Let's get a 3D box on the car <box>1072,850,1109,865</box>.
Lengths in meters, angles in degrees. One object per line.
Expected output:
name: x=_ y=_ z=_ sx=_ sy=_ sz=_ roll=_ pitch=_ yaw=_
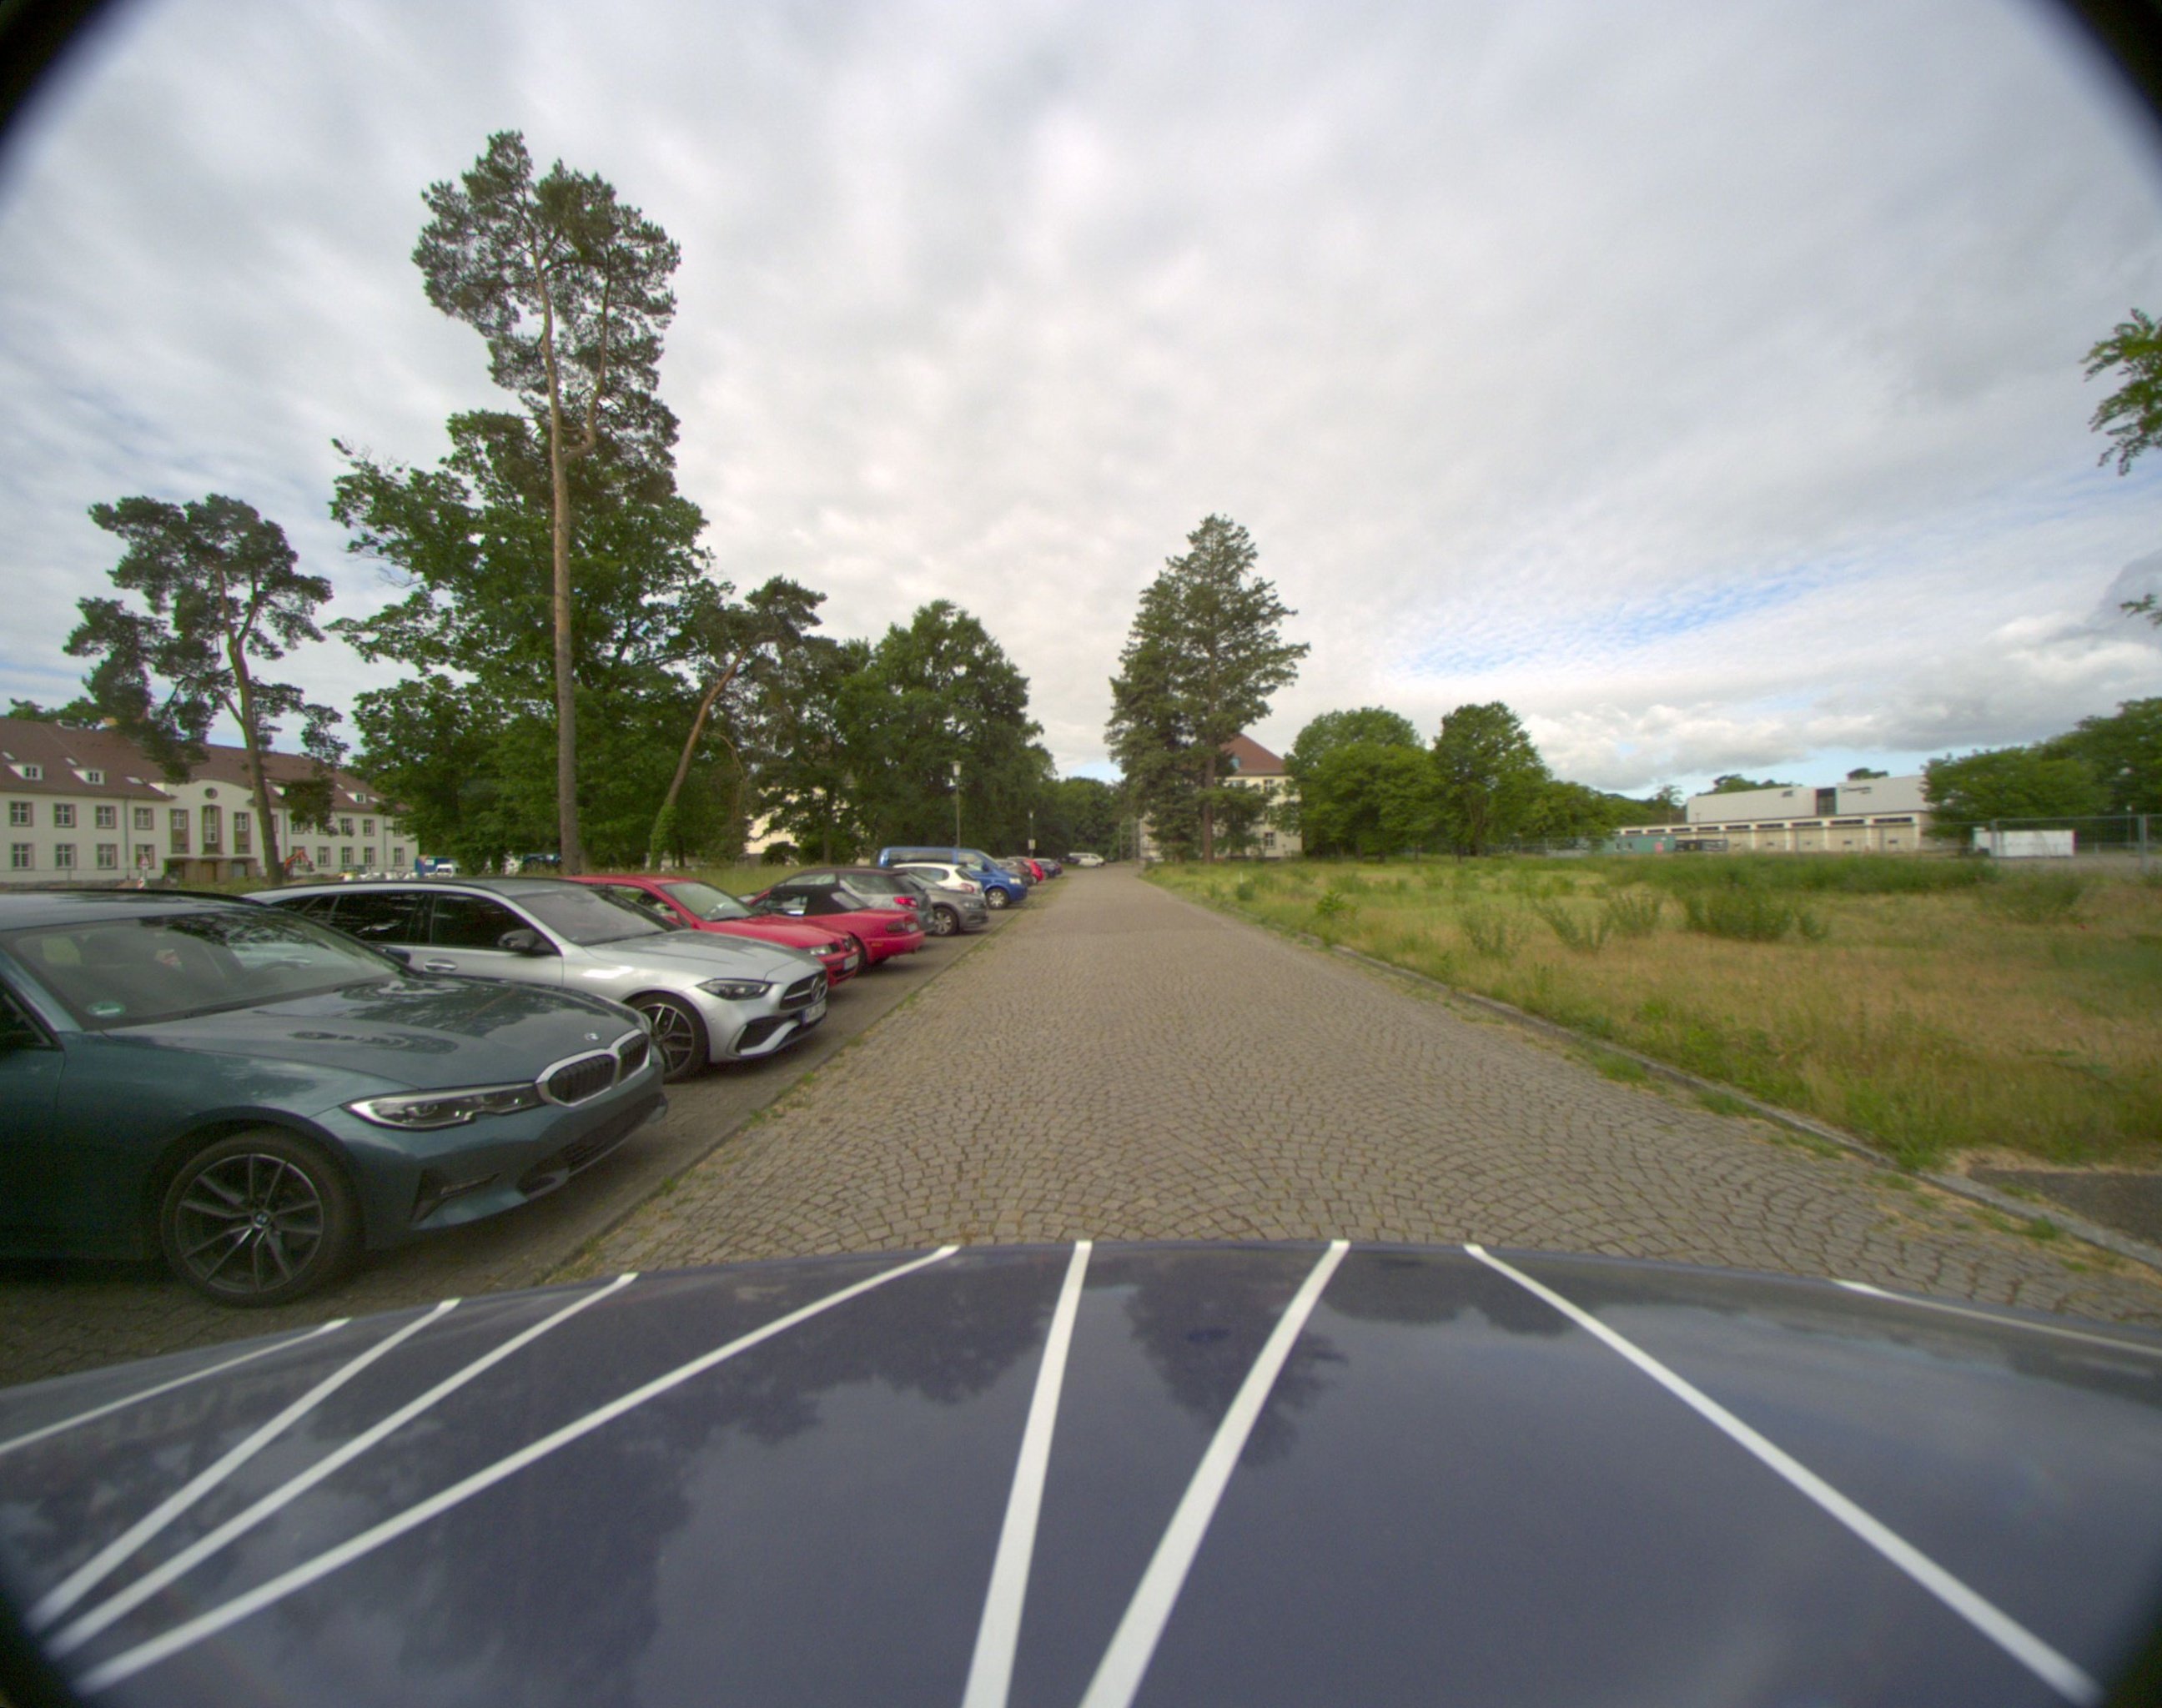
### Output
car: x=1.301 y=0.496 z=107.449 sx=5.149 sy=2.137 sz=1.774 roll=0 pitch=0 yaw=-2

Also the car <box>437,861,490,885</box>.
car: x=-66.714 y=2.022 z=82.163 sx=1.862 sy=2.351 sz=4.447 roll=-2 pitch=1 yaw=1

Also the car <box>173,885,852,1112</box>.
car: x=-4.242 y=1.019 z=6.111 sx=4.246 sy=1.465 sz=1.717 roll=0 pitch=0 yaw=3

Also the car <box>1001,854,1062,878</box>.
car: x=-3.518 y=0.815 z=54.169 sx=4.081 sy=1.685 sz=1.727 roll=0 pitch=0 yaw=8

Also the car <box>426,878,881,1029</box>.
car: x=-4.595 y=1.037 z=8.596 sx=4.183 sy=1.473 sz=1.717 roll=0 pitch=0 yaw=2

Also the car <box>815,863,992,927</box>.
car: x=-4.414 y=1.007 z=19.197 sx=4.049 sy=1.507 sz=1.601 roll=0 pitch=0 yaw=4

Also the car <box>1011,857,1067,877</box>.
car: x=-3.218 y=0.989 z=58.855 sx=4.091 sy=1.524 sz=1.727 roll=0 pitch=0 yaw=8

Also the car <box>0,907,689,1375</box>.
car: x=-4.405 y=1.016 z=3.368 sx=4.439 sy=1.375 sz=1.664 roll=1 pitch=0 yaw=0

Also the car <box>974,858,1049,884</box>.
car: x=-3.980 y=0.953 z=43.827 sx=4.083 sy=1.436 sz=1.727 roll=0 pitch=0 yaw=3

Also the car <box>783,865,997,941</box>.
car: x=-3.991 y=1.003 z=16.266 sx=4.096 sy=1.507 sz=1.700 roll=0 pitch=0 yaw=4

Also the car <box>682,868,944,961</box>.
car: x=-4.624 y=1.023 z=13.452 sx=4.049 sy=1.507 sz=1.601 roll=0 pitch=0 yaw=4

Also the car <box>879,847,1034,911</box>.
car: x=-3.945 y=0.767 z=24.603 sx=4.601 sy=1.994 sz=1.912 roll=0 pitch=1 yaw=3

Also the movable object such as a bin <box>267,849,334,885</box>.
movable object such as a bin: x=-86.972 y=1.456 z=84.733 sx=5.457 sy=3.748 sz=2.053 roll=-2 pitch=1 yaw=5

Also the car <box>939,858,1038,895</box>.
car: x=-4.021 y=0.961 z=33.509 sx=4.082 sy=1.584 sz=1.655 roll=0 pitch=0 yaw=4

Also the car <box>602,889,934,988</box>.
car: x=-4.284 y=1.146 z=10.778 sx=4.050 sy=1.233 sz=1.550 roll=0 pitch=0 yaw=2
